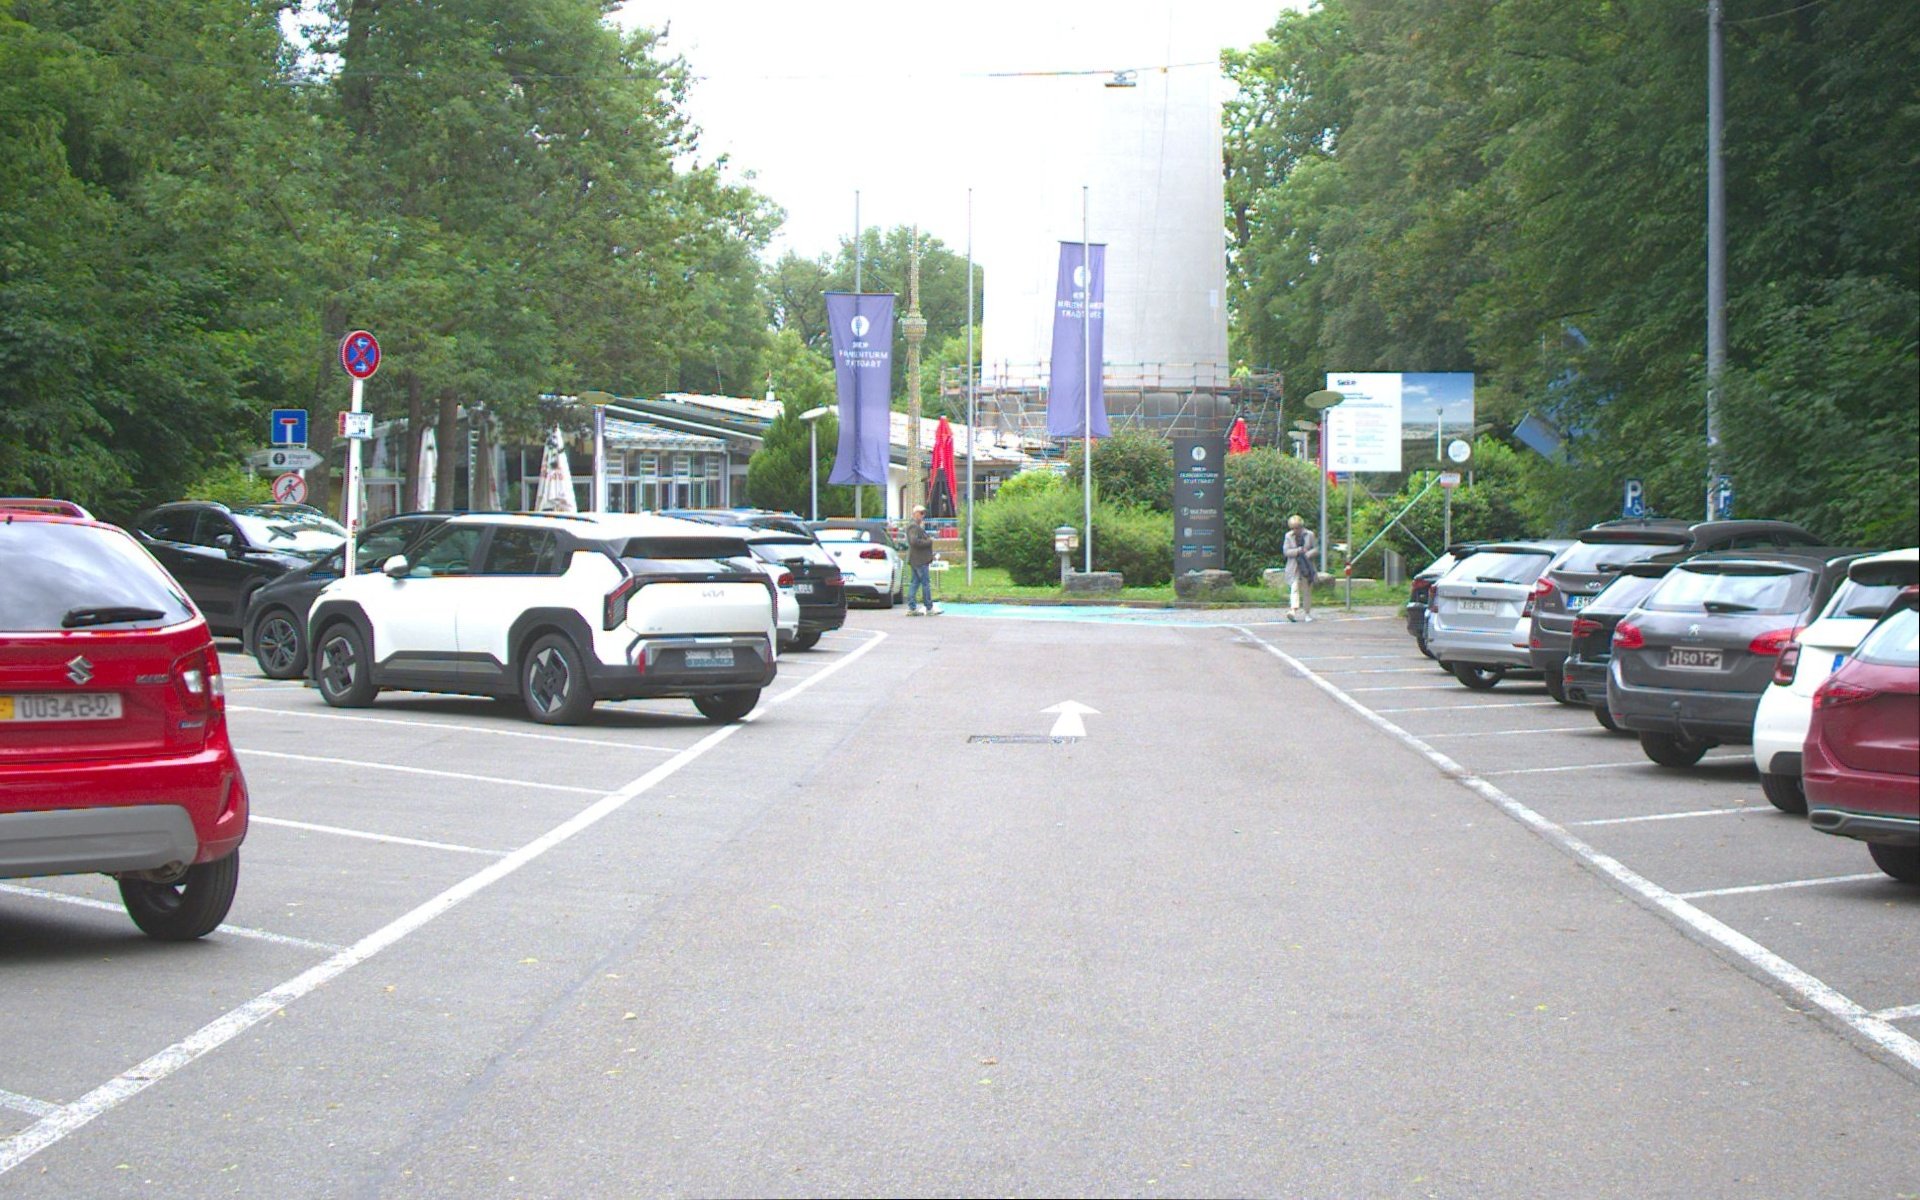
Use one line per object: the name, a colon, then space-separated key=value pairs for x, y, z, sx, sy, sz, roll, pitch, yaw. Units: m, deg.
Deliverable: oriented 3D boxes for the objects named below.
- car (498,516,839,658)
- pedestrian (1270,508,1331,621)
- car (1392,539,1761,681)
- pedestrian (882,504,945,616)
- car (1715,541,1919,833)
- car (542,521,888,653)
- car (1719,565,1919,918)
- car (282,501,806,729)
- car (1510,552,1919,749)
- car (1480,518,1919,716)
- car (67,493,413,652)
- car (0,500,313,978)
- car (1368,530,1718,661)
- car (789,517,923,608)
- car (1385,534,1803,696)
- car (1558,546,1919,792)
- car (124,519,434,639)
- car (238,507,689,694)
car: x=-3.255 y=-0.177 z=37.872 sx=1.768 sy=1.438 sz=3.844 roll=-1 pitch=2 yaw=-42
pedestrian: x=5.263 y=-0.555 z=53.105 sx=0.762 sy=1.719 sz=0.896 roll=1 pitch=1 yaw=16
car: x=6.718 y=0.073 z=37.275 sx=3.989 sy=1.417 sz=1.909 roll=-1 pitch=2 yaw=-43
pedestrian: x=-0.729 y=-0.630 z=53.644 sx=0.894 sy=1.719 sz=0.764 roll=1 pitch=1 yaw=-5
car: x=6.071 y=0.433 z=19.335 sx=3.572 sy=1.499 sz=1.734 roll=-1 pitch=2 yaw=-40
car: x=-2.971 y=-0.190 z=40.997 sx=1.755 sy=1.438 sz=4.276 roll=-1 pitch=2 yaw=-44
car: x=5.542 y=0.576 z=15.288 sx=4.283 sy=1.409 sz=1.927 roll=0 pitch=2 yaw=-38
car: x=-3.287 y=0.052 z=26.639 sx=1.842 sy=1.591 sz=4.187 roll=-1 pitch=2 yaw=-45
car: x=6.368 y=0.327 z=26.752 sx=4.251 sy=1.373 sz=1.964 roll=-1 pitch=2 yaw=-44
car: x=6.802 y=0.106 z=30.829 sx=4.251 sy=1.631 sz=1.964 roll=-1 pitch=2 yaw=-42
car: x=-8.028 y=-0.340 z=38.151 sx=1.894 sy=1.657 sz=3.998 roll=-1 pitch=2 yaw=-45
car: x=-4.194 y=0.410 z=12.908 sx=3.652 sy=1.580 sz=1.682 roll=2 pitch=2 yaw=45
car: x=7.004 y=-0.073 z=41.111 sx=4.193 sy=1.457 sz=1.898 roll=0 pitch=2 yaw=-42
car: x=-1.716 y=-0.658 z=57.869 sx=1.893 sy=1.423 sz=4.000 roll=1 pitch=2 yaw=3
car: x=6.250 y=0.103 z=33.735 sx=3.988 sy=1.462 sz=1.835 roll=-1 pitch=2 yaw=-38
car: x=5.986 y=0.381 z=22.730 sx=4.175 sy=1.452 sz=1.804 roll=-1 pitch=2 yaw=-42
car: x=-8.524 y=-0.297 z=42.793 sx=1.764 sy=1.389 sz=4.390 roll=-1 pitch=2 yaw=-42
car: x=-4.526 y=-0.050 z=31.081 sx=3.997 sy=1.549 sz=1.869 roll=2 pitch=2 yaw=41
